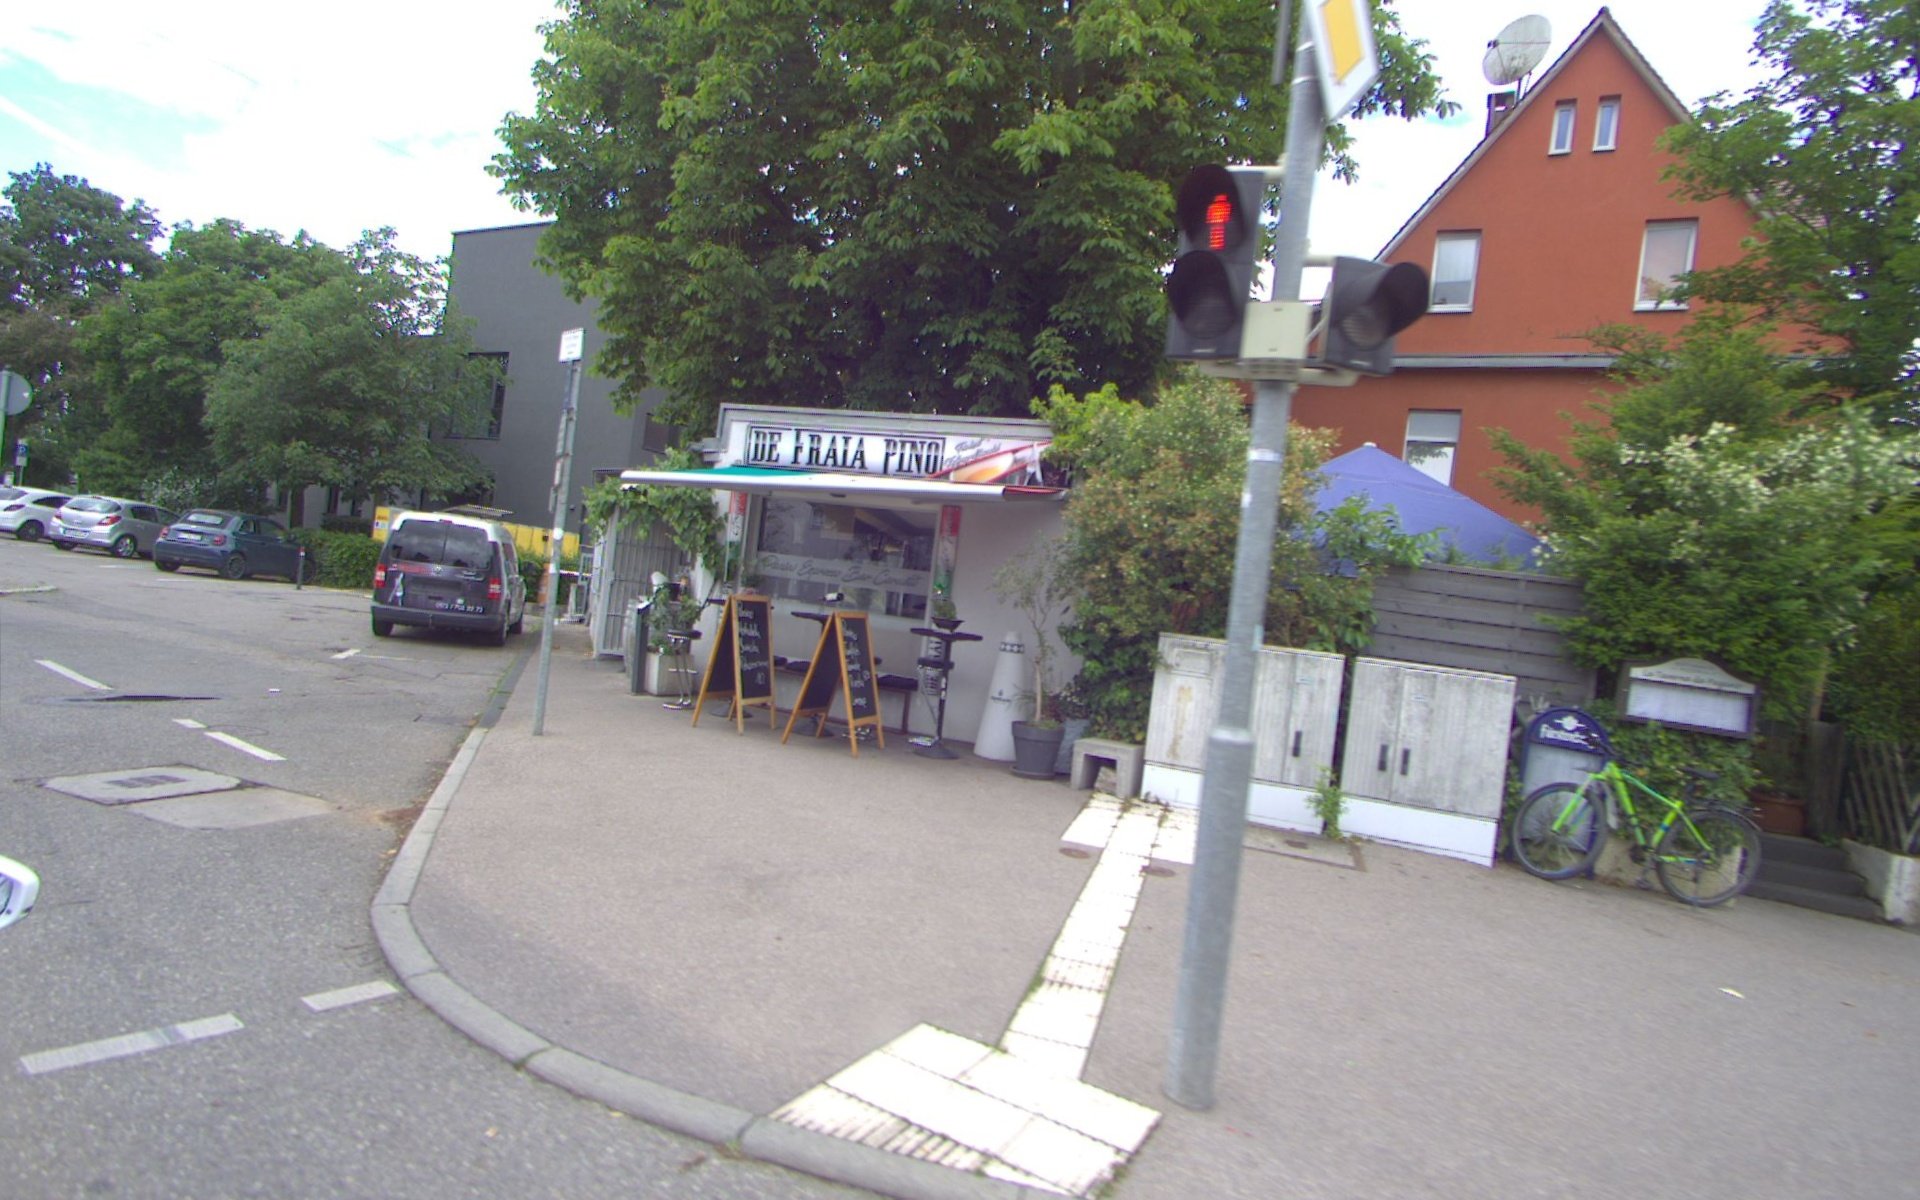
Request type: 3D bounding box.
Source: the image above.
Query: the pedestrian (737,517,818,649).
[{"bbox_3d":[-2.623,-0.236,14.486,0.667,1.783,0.683,10,4,38],"label":"pedestrian"}]

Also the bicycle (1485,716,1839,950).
[{"bbox_3d":[4.922,1.604,7.201,1.843,1.153,0.550,10,2,20],"label":"bicycle"}]

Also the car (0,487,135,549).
[{"bbox_3d":[-25.712,-2.316,28.421,1.561,1.454,3.649,5,1,5],"label":"car"}]

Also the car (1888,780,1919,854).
[{"bbox_3d":[20.830,4.618,19.938,1.963,1.479,4.524,7,-3,22],"label":"car"}]

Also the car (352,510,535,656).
[{"bbox_3d":[-7.920,-0.305,15.860,1.825,1.770,4.673,7,0,-20],"label":"car"}]

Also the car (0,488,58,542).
[{"bbox_3d":[-30.795,-2.853,31.335,1.764,1.490,3.807,7,-2,2],"label":"car"}]

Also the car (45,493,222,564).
[{"bbox_3d":[-21.331,-1.794,26.151,1.519,1.395,3.516,8,1,2],"label":"car"}]

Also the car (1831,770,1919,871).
[{"bbox_3d":[17.186,3.940,17.327,1.964,1.479,4.522,6,-4,25],"label":"car"}]

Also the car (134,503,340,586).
[{"bbox_3d":[-16.959,-1.230,23.887,1.845,1.495,4.000,7,0,0],"label":"car"}]
